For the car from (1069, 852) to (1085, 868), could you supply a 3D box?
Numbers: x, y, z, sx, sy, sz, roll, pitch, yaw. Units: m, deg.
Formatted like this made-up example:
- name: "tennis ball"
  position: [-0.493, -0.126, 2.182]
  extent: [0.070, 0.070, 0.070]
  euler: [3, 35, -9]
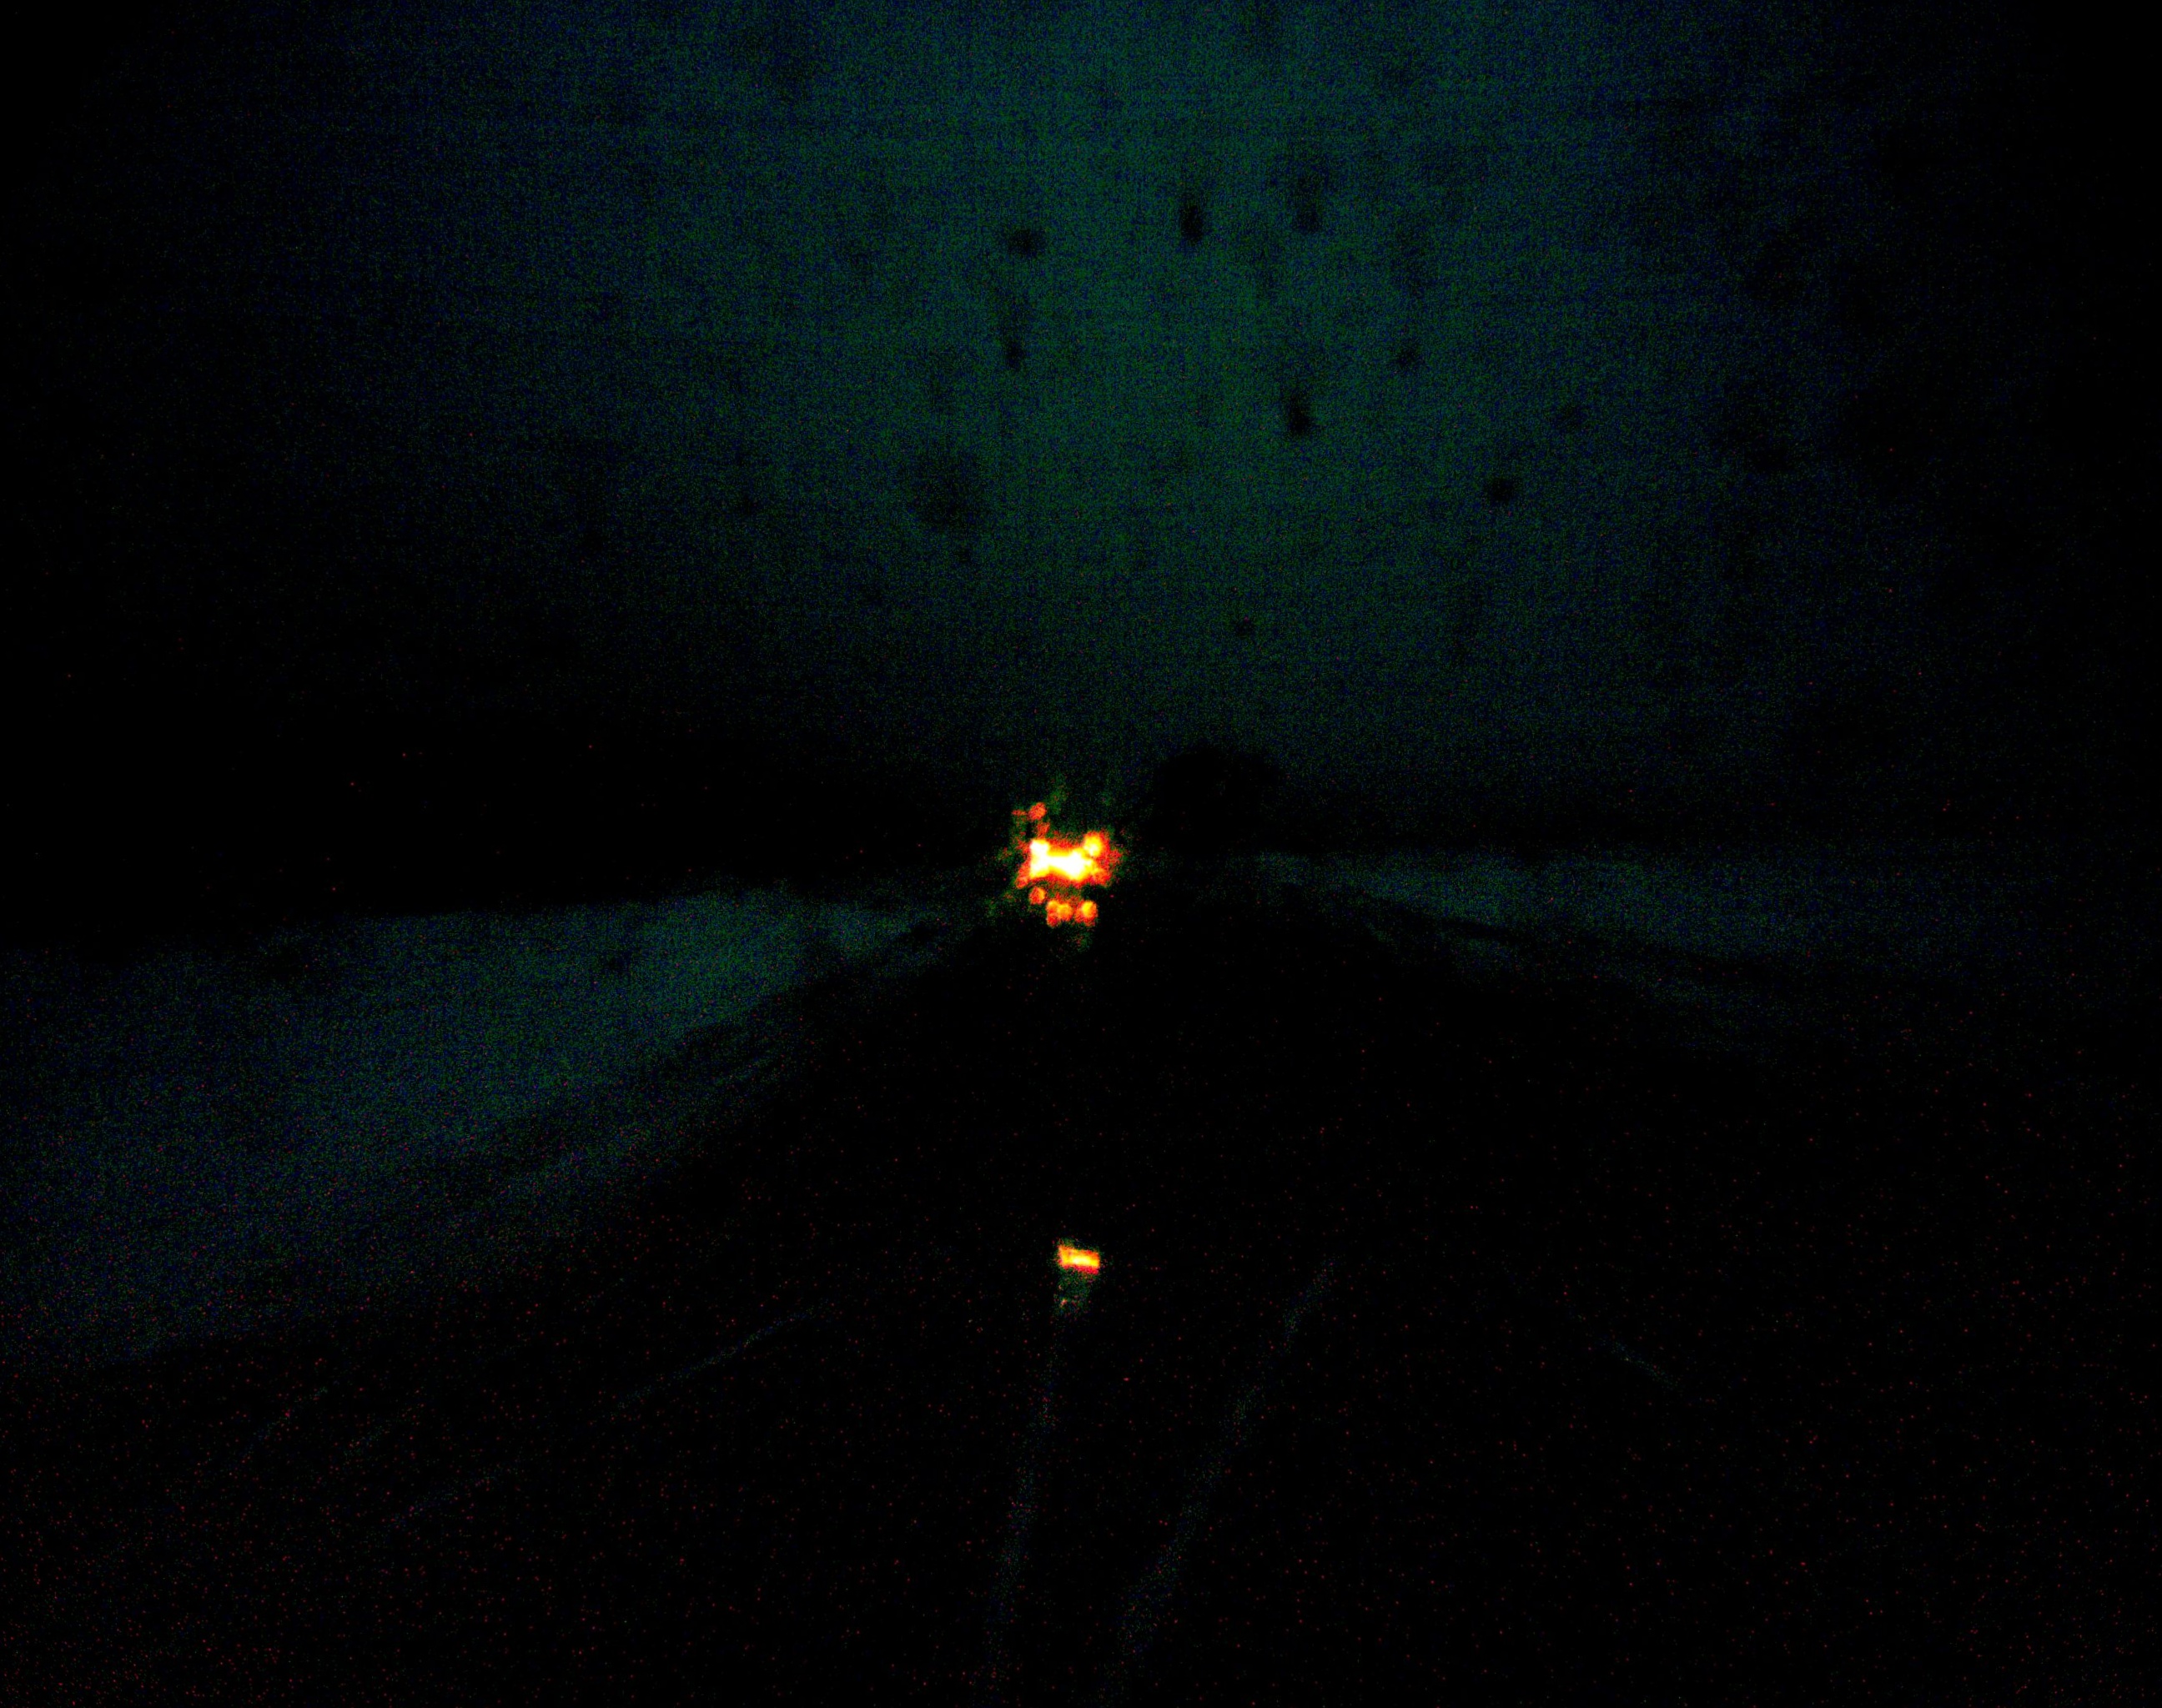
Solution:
- name: "car"
  position: [-0.582, 0.865, 109.243]
  extent: [1.998, 2.002, 4.000]
  euler: [-3, 1, 3]
